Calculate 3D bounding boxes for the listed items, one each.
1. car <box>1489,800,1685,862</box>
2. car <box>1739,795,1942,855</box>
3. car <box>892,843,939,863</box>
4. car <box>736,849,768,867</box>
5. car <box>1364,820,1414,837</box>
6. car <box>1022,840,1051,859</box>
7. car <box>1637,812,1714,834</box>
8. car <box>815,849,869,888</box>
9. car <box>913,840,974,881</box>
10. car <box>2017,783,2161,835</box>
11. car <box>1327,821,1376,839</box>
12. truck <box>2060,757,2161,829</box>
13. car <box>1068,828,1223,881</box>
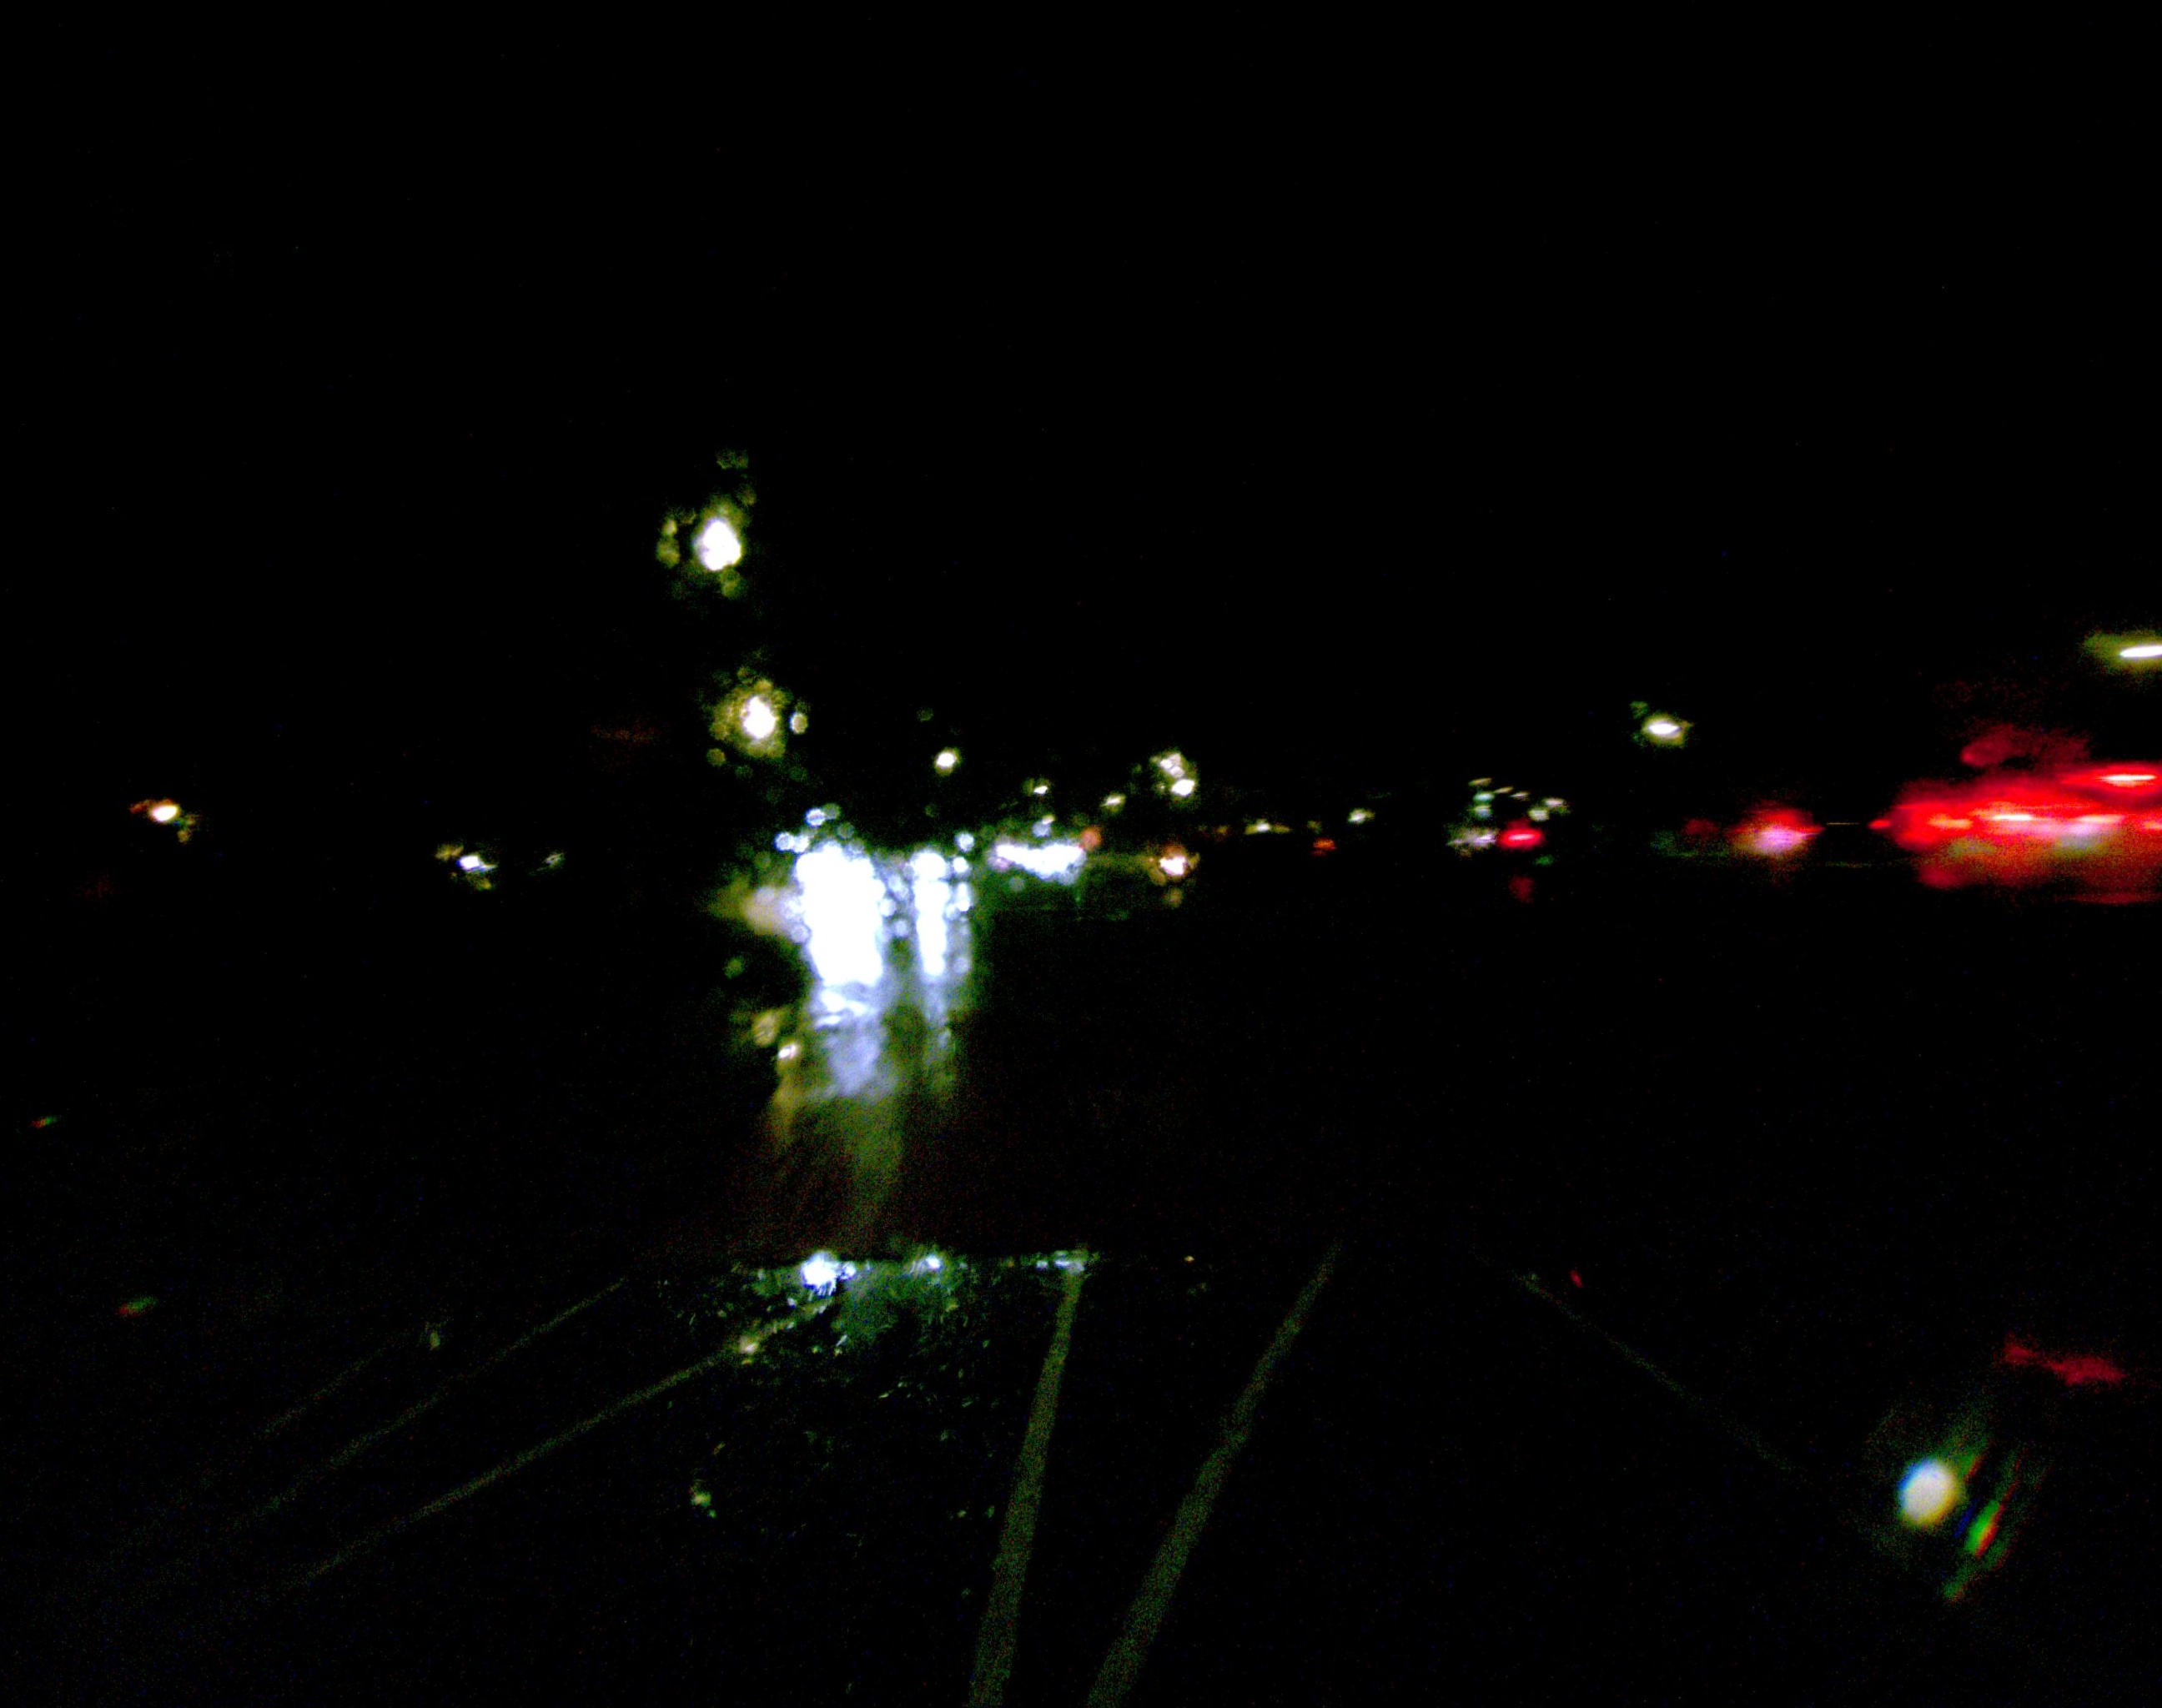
[{"bbox_3d":[14.835,-0.672,22.568,4.424,1.613,2.001,-2,3,12],"label":"car"},{"bbox_3d":[22.212,-0.847,22.341,4.184,1.525,1.998,-2,2,-5],"label":"car"},{"bbox_3d":[-14.060,-0.115,64.717,1.765,1.444,4.005,-2,2,25],"label":"car"},{"bbox_3d":[-40.837,0.448,94.449,1.998,2.003,3.999,-2,2,4],"label":"car"},{"bbox_3d":[30.661,-2.542,75.660,2.003,1.458,4.175,-4,2,-35],"label":"car"},{"bbox_3d":[-4.510,-0.472,76.949,1.997,1.663,4.187,-3,2,9],"label":"car"},{"bbox_3d":[44.887,-2.346,57.412,2.003,1.458,4.175,-4,2,-35],"label":"car"},{"bbox_3d":[-10.498,0.568,33.505,2.001,1.458,5.091,-3,2,-17],"label":"car"},{"bbox_3d":[-6.203,0.233,33.768,2.001,1.573,5.190,-3,2,-17],"label":"car"},{"bbox_3d":[32.473,-1.443,24.350,4.189,1.525,1.996,-3,3,-23],"label":"car"},{"bbox_3d":[25.504,-2.305,71.815,4.177,1.458,2.002,-2,2,17],"label":"car"},{"bbox_3d":[38.890,-2.289,28.596,7.826,2.383,2.316,-4,3,-39],"label":"truck"},{"bbox_3d":[1.905,0.032,23.496,4.627,1.458,1.650,-1,2,41],"label":"car"}]
